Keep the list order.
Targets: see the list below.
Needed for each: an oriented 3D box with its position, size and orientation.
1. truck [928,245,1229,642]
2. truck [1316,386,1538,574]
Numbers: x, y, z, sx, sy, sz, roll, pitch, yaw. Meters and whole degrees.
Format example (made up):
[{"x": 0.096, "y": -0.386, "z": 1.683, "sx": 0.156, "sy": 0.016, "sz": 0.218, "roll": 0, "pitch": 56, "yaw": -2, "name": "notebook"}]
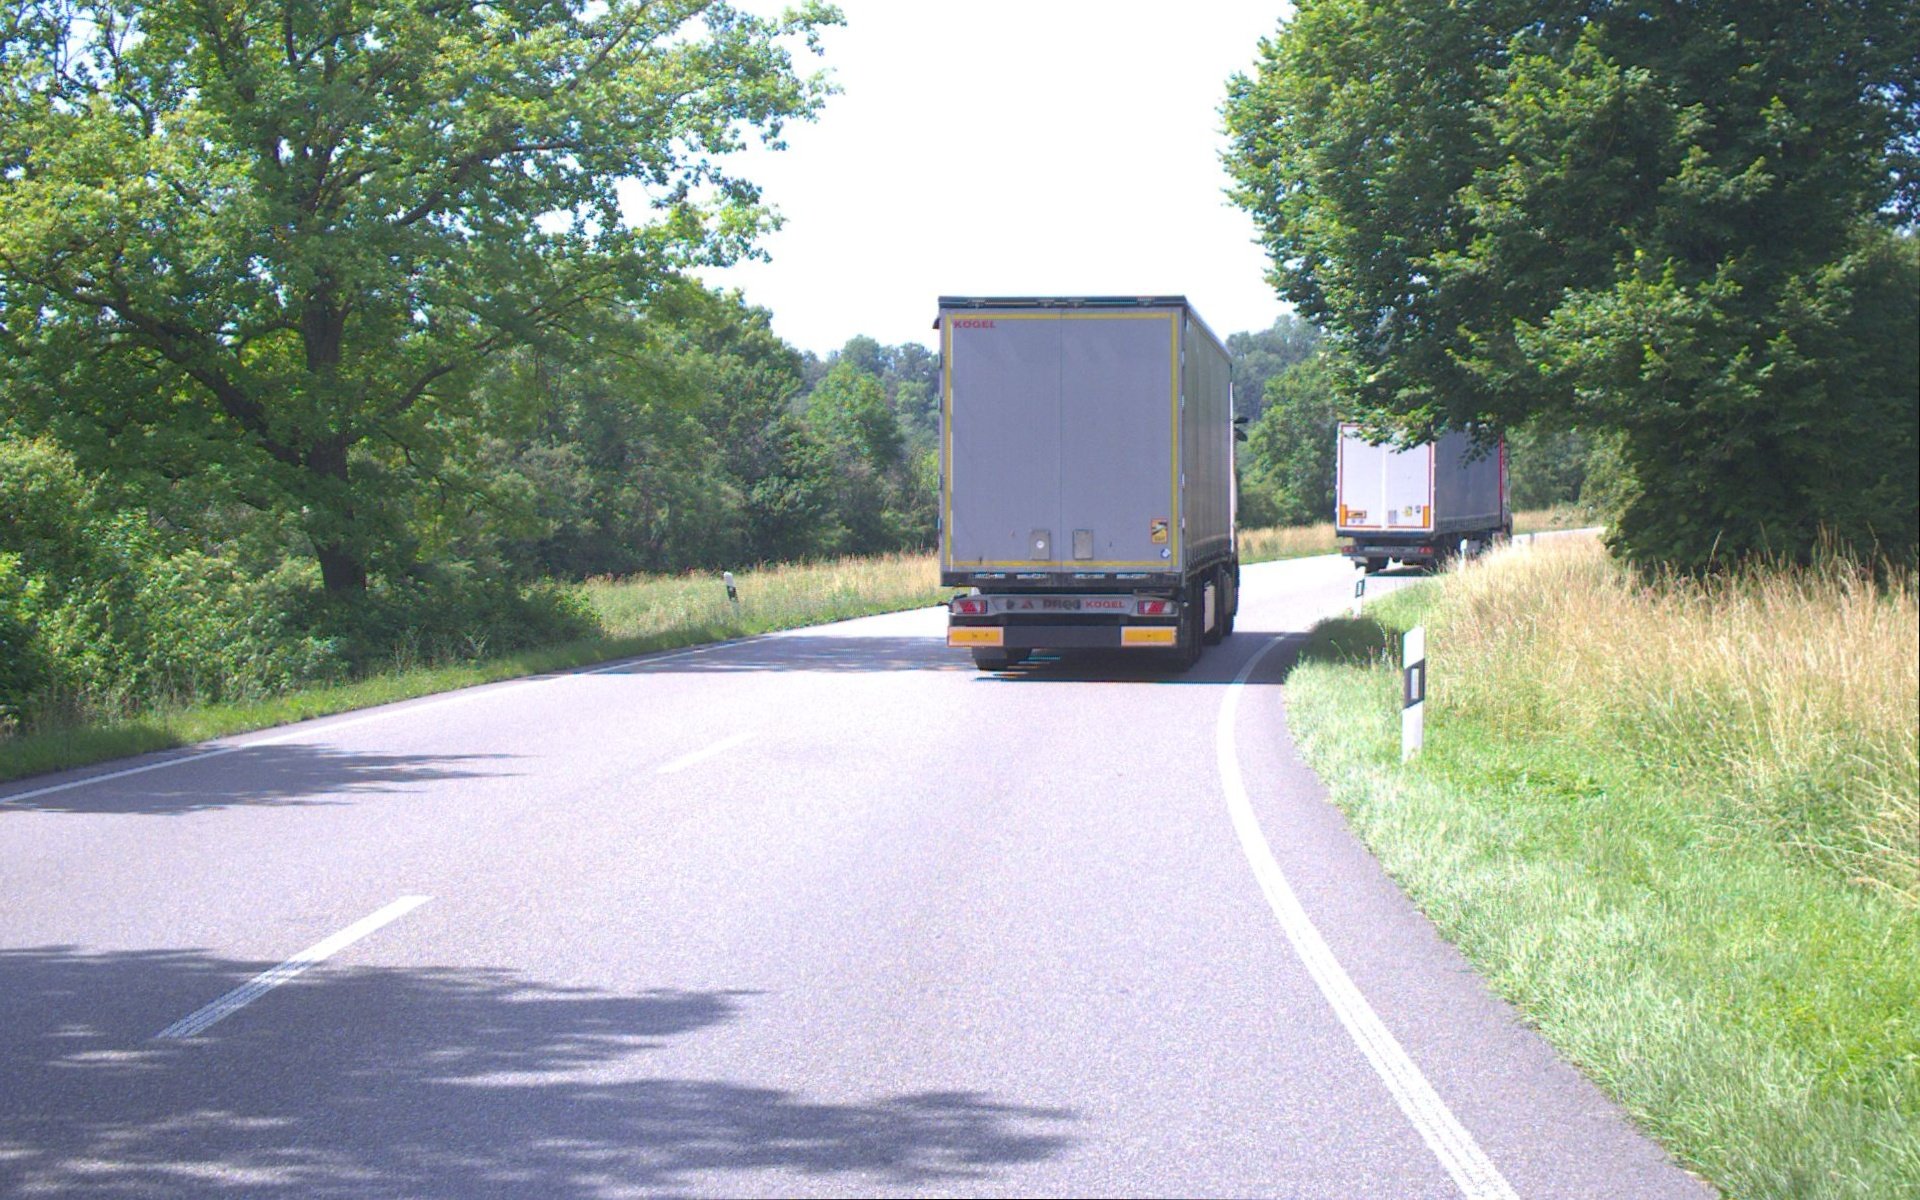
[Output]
[{"x": 1.812, "y": -1.800, "z": 42.944, "sx": 2.802, "sy": 4.054, "sz": 15.323, "roll": 0, "pitch": 1, "yaw": 6, "name": "truck"}, {"x": 13.102, "y": -3.257, "z": 94.619, "sx": 3.107, "sy": 4.689, "sz": 16.575, "roll": 0, "pitch": 1, "yaw": 18, "name": "truck"}]
